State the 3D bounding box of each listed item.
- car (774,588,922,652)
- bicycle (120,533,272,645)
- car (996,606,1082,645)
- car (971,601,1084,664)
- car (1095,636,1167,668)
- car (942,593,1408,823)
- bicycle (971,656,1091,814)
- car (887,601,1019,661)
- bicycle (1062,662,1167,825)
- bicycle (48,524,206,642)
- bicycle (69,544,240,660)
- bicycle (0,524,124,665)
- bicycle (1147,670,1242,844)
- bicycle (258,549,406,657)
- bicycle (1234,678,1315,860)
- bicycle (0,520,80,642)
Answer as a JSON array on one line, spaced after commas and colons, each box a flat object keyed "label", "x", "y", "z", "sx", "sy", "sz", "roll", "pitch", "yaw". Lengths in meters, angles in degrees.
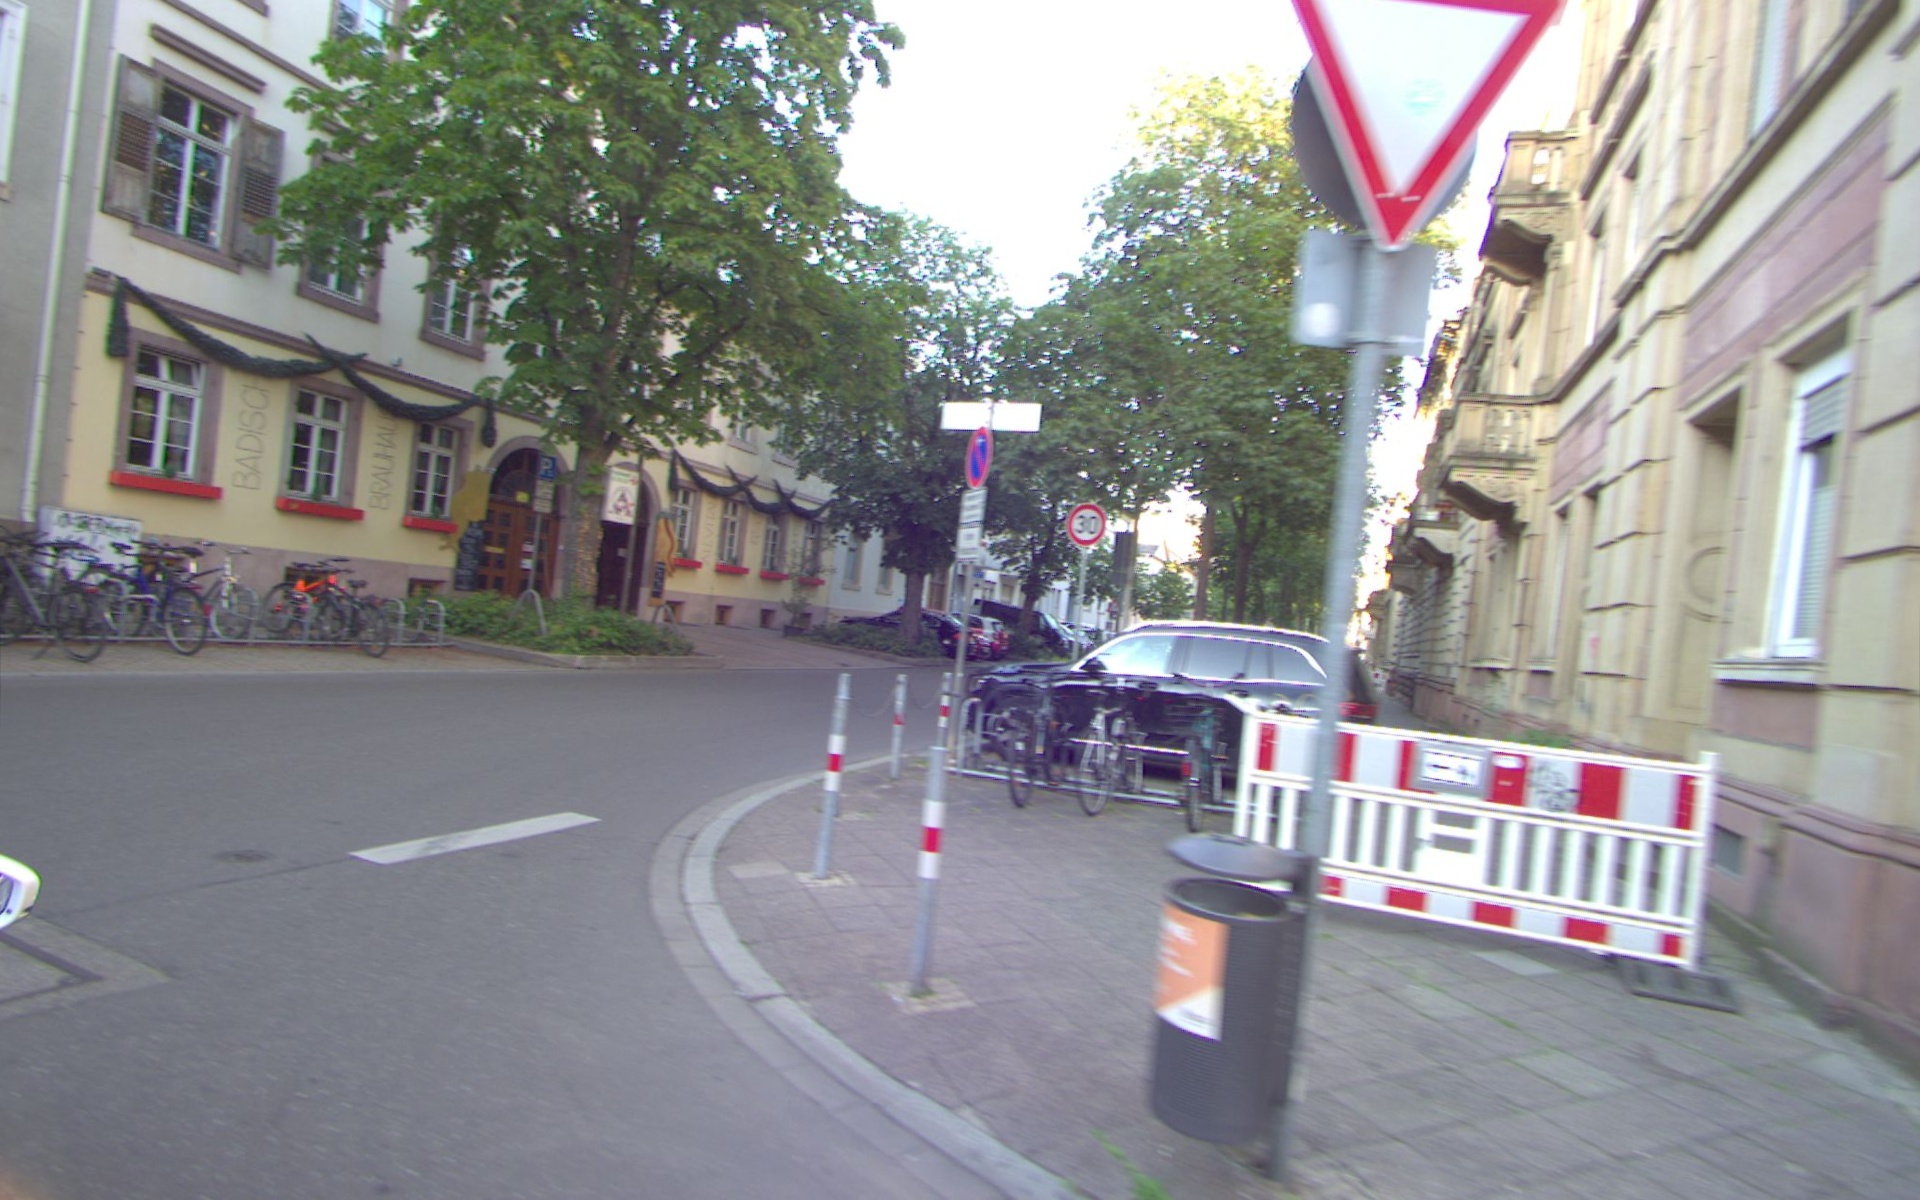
[{"label": "car", "x": -3.673, "y": 0.648, "z": 32.839, "sx": 4.365, "sy": 1.524, "sz": 1.776, "roll": 7, "pitch": 0, "yaw": 23}, {"label": "bicycle", "x": -9.514, "y": -0.148, "z": 12.510, "sx": 2.004, "sy": 1.160, "sz": 0.421, "roll": 7, "pitch": 1, "yaw": 21}, {"label": "car", "x": 4.482, "y": 1.470, "z": 57.026, "sx": 4.365, "sy": 1.632, "sz": 1.776, "roll": 7, "pitch": 0, "yaw": 23}, {"label": "car", "x": 2.917, "y": 1.413, "z": 43.547, "sx": 4.365, "sy": 2.149, "sz": 1.776, "roll": 7, "pitch": 0, "yaw": 23}, {"label": "car", "x": 11.667, "y": 3.567, "z": 68.672, "sx": 4.365, "sy": 1.632, "sz": 1.776, "roll": 7, "pitch": 0, "yaw": 23}, {"label": "car", "x": 2.277, "y": 1.017, "z": 10.886, "sx": 4.508, "sy": 1.760, "sz": 1.775, "roll": 5, "pitch": 0, "yaw": 23}, {"label": "bicycle", "x": 0.636, "y": 1.041, "z": 8.317, "sx": 0.358, "sy": 1.103, "sz": 1.869, "roll": 5, "pitch": 0, "yaw": 22}, {"label": "car", "x": -0.253, "y": 1.153, "z": 37.102, "sx": 4.365, "sy": 1.632, "sz": 1.776, "roll": 7, "pitch": 0, "yaw": 23}, {"label": "bicycle", "x": 1.301, "y": 1.095, "z": 8.195, "sx": 0.358, "sy": 1.103, "sz": 1.869, "roll": 5, "pitch": 0, "yaw": 22}, {"label": "bicycle", "x": -9.857, "y": -0.208, "z": 11.888, "sx": 2.004, "sy": 1.160, "sz": 0.421, "roll": 7, "pitch": 1, "yaw": 21}, {"label": "bicycle", "x": -8.748, "y": 0.013, "z": 10.911, "sx": 2.004, "sy": 1.016, "sz": 0.421, "roll": 7, "pitch": 1, "yaw": 21}, {"label": "bicycle", "x": -8.917, "y": -0.094, "z": 9.623, "sx": 2.005, "sy": 1.160, "sz": 0.446, "roll": 7, "pitch": 1, "yaw": 22}, {"label": "bicycle", "x": 1.847, "y": 1.134, "z": 7.774, "sx": 0.358, "sy": 1.103, "sz": 1.869, "roll": 5, "pitch": 0, "yaw": 22}, {"label": "bicycle", "x": -8.200, "y": 0.033, "z": 13.125, "sx": 2.004, "sy": 1.160, "sz": 0.421, "roll": 7, "pitch": 1, "yaw": 21}, {"label": "bicycle", "x": 2.397, "y": 1.183, "z": 7.561, "sx": 0.358, "sy": 1.103, "sz": 1.869, "roll": 5, "pitch": 0, "yaw": 22}, {"label": "bicycle", "x": -10.252, "y": -0.259, "z": 10.663, "sx": 2.004, "sy": 1.160, "sz": 0.421, "roll": 7, "pitch": 1, "yaw": 21}]
